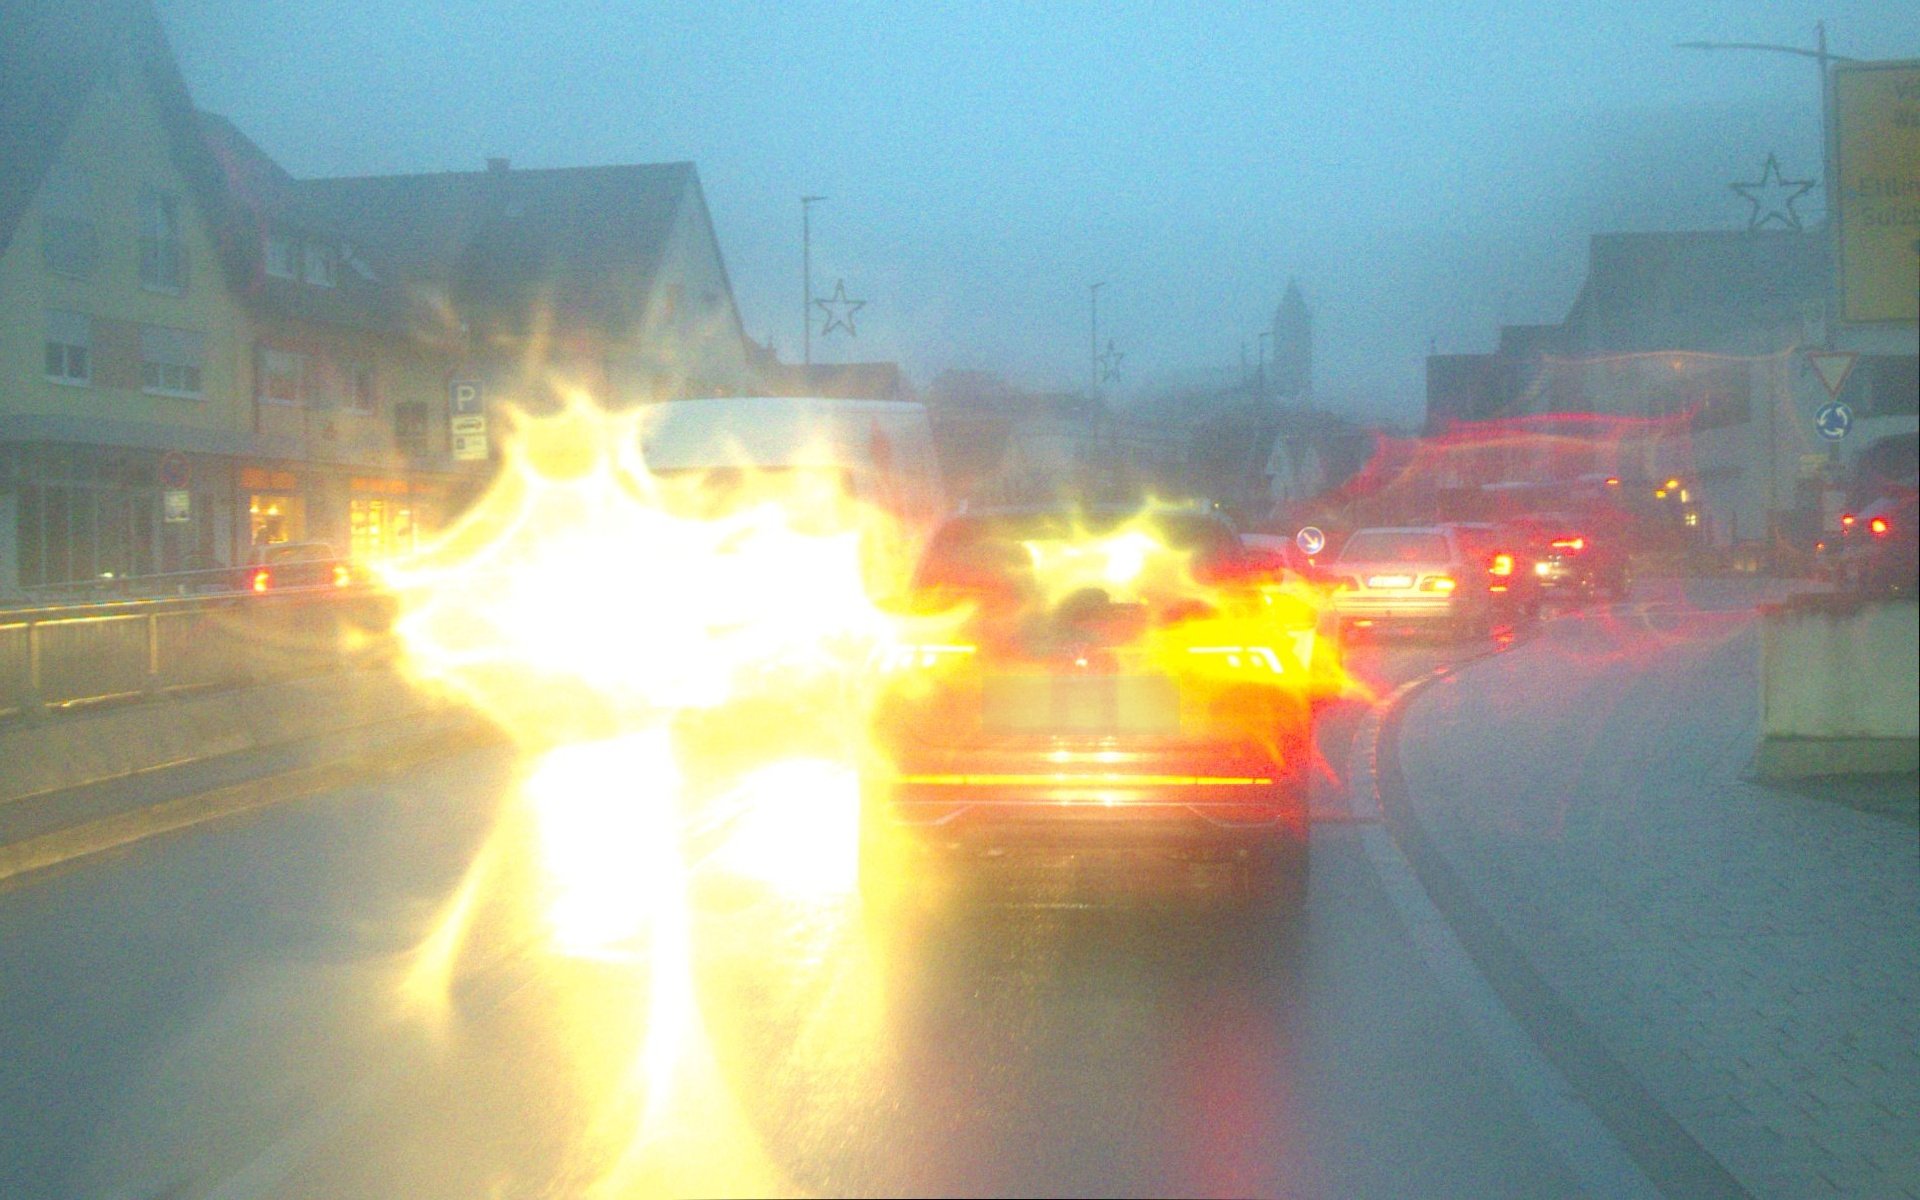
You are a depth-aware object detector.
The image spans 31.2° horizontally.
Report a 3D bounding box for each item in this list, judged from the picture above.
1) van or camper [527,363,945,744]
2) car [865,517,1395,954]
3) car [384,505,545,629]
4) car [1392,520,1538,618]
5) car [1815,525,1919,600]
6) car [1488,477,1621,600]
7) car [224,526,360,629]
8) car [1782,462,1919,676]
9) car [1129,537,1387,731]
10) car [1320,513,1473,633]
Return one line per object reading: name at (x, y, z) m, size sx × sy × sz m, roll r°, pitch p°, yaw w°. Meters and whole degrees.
van or camper at (-1.610, -0.402, 27.690) m, size 2.241 × 2.660 × 6.554 m, roll -1°, pitch 1°, yaw 6°
car at (0.717, 0.453, 15.012) m, size 1.964 × 1.589 × 4.313 m, roll 1°, pitch 2°, yaw 2°
car at (-8.177, -0.565, 56.463) m, size 2.037 × 1.919 × 4.058 m, roll -1°, pitch 1°, yaw -16°
car at (7.683, -0.493, 52.033) m, size 1.994 × 1.387 × 3.998 m, roll -1°, pitch 1°, yaw 11°
car at (19.535, -0.815, 73.912) m, size 1.567 × 1.408 × 3.597 m, roll -5°, pitch 0°, yaw 24°
car at (10.675, -1.107, 61.914) m, size 2.158 × 1.984 × 4.498 m, roll -4°, pitch 1°, yaw 9°
car at (-11.072, -0.397, 56.837) m, size 1.821 × 1.607 × 4.058 m, roll -1°, pitch 1°, yaw -16°
car at (9.249, -0.477, 28.796) m, size 4.176 × 1.633 × 1.804 m, roll -7°, pitch 1°, yaw 4°
car at (2.583, 0.240, 29.028) m, size 1.683 × 1.448 × 3.998 m, roll -2°, pitch 1°, yaw 12°
car at (5.499, -0.377, 43.397) m, size 1.815 × 1.407 × 3.999 m, roll 1°, pitch 2°, yaw 7°
